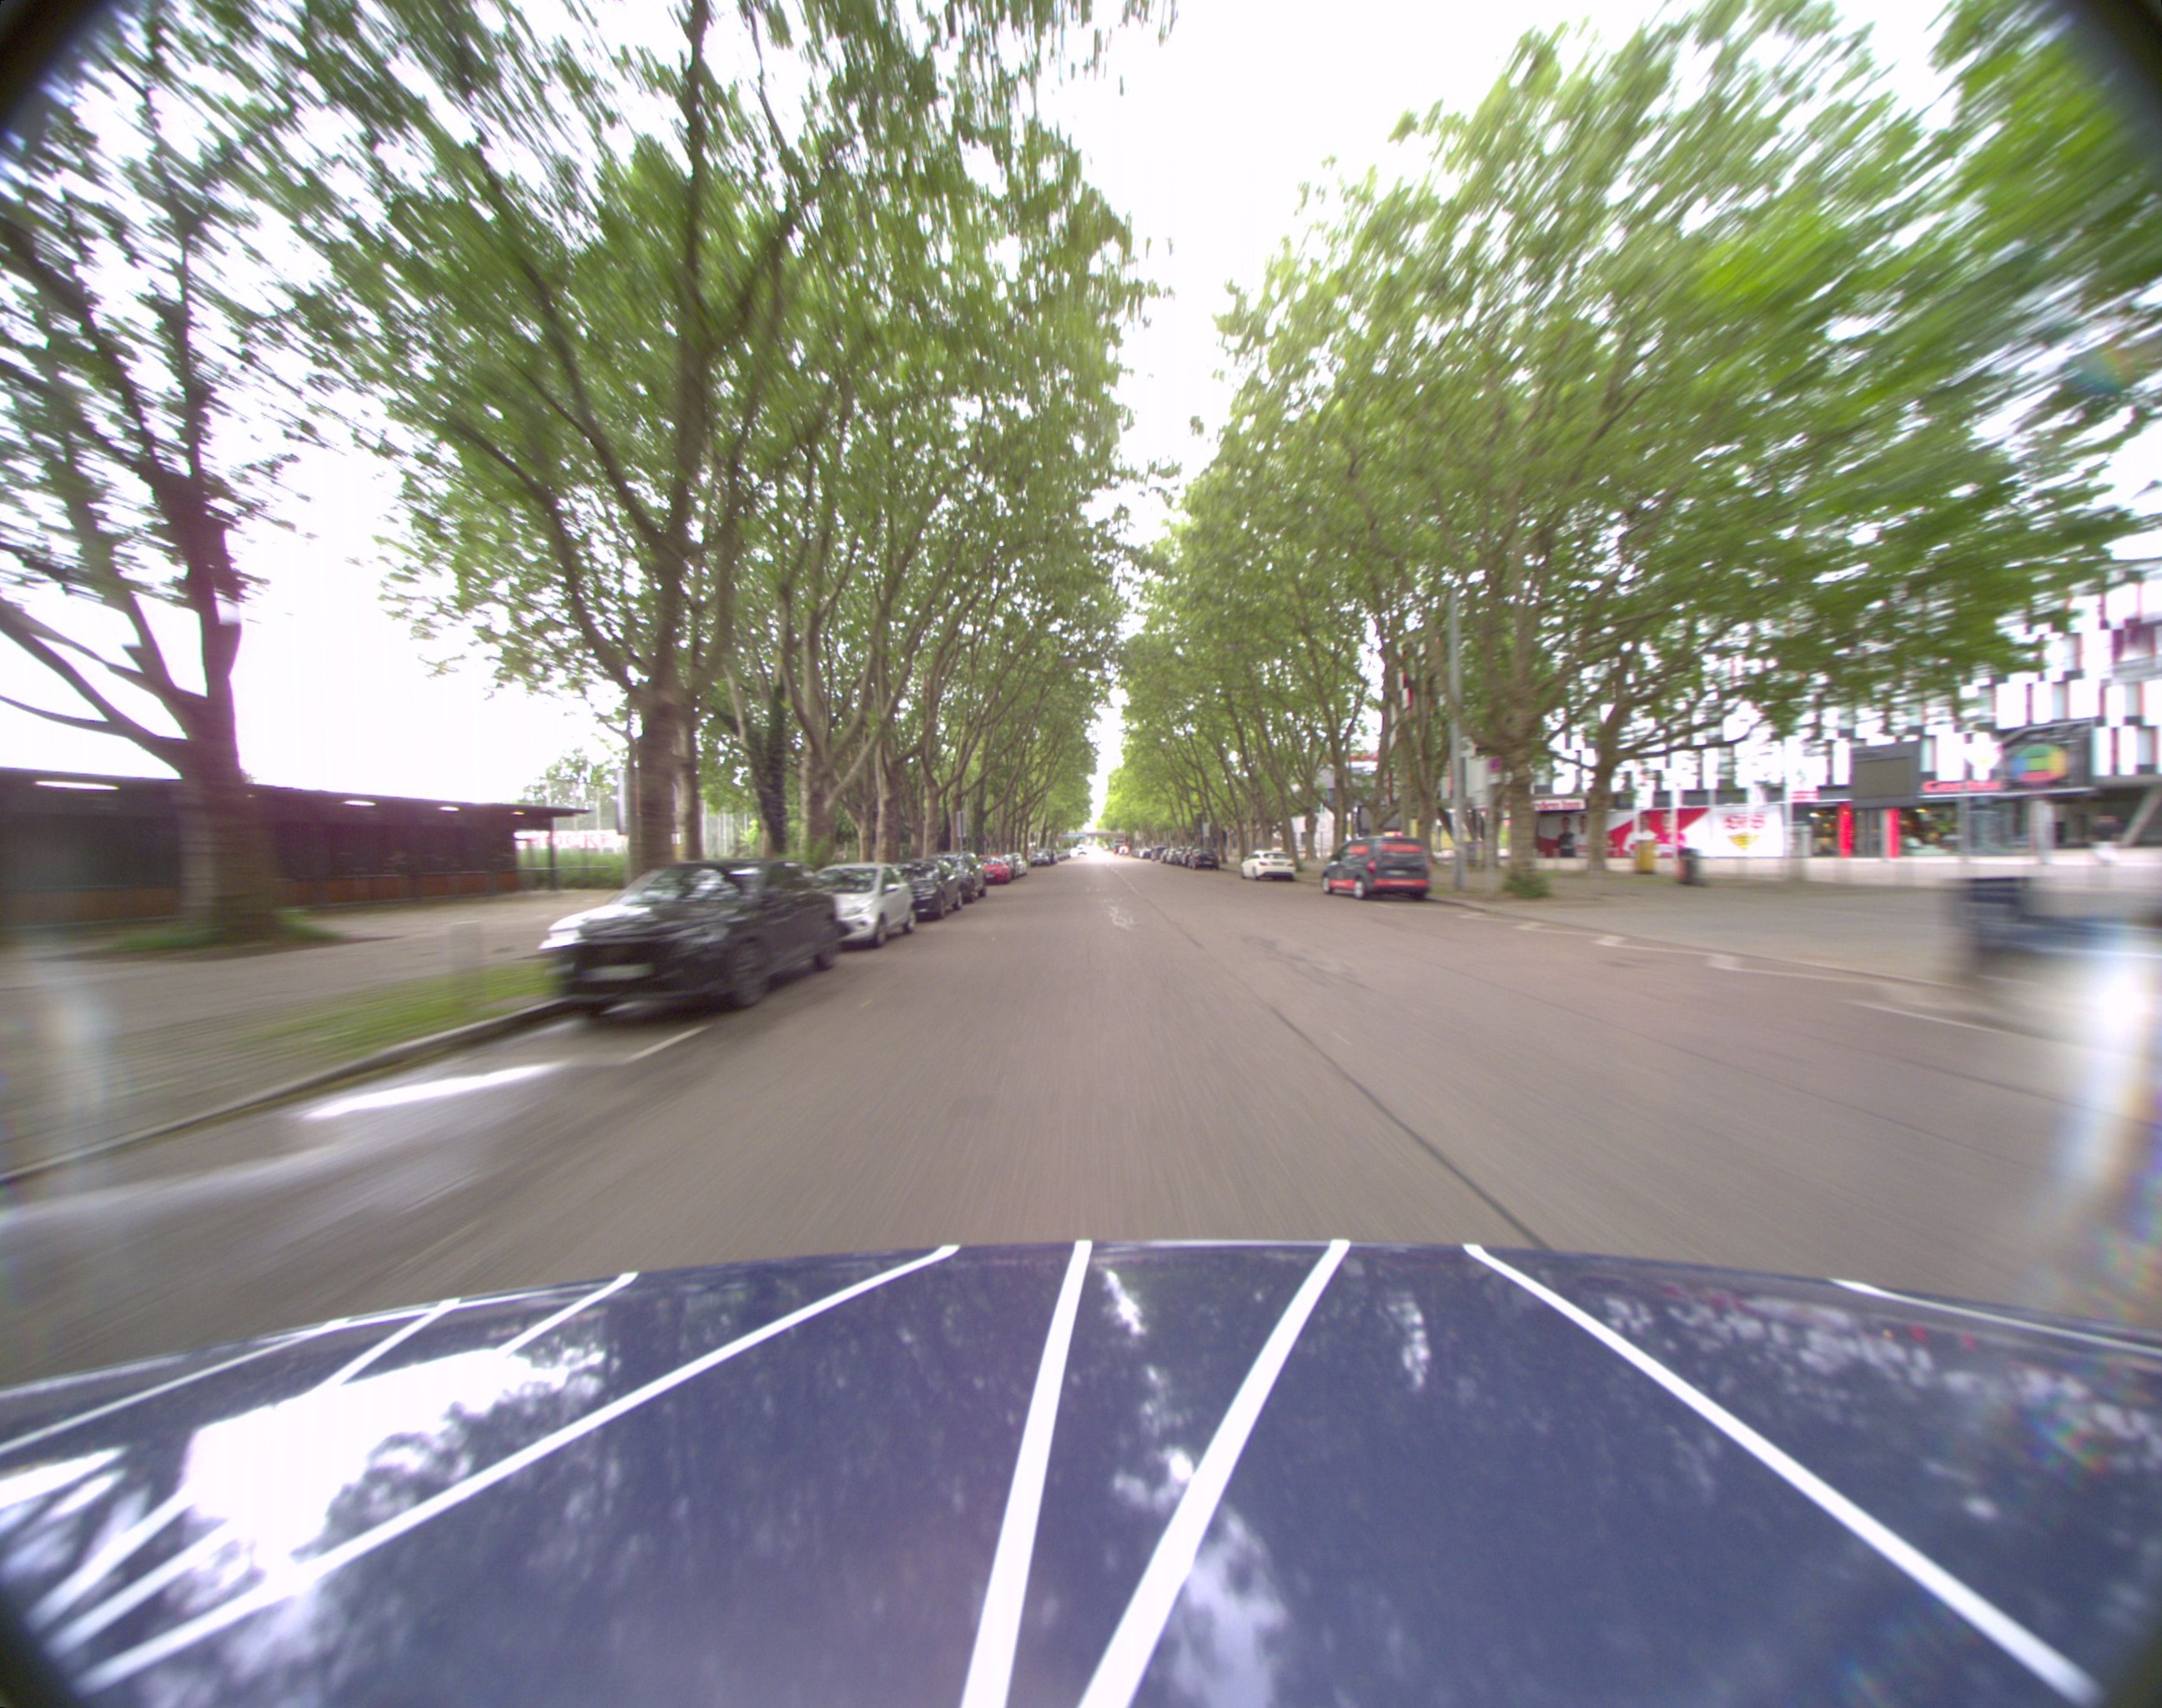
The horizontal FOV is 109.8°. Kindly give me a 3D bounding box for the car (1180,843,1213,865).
[{"bbox_3d":[8.984,-0.037,59.518,1.942,1.633,4.928,2,1,2],"label":"car"}]

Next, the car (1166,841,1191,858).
[{"bbox_3d":[9.022,-0.402,70.722,1.838,1.447,4.230,2,1,1],"label":"car"}]

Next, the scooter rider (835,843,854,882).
[{"bbox_3d":[-10.882,0.385,34.988,0.678,1.790,0.587,1,1,1],"label":"scooter rider"}]

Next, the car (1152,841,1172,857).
[{"bbox_3d":[9.479,-0.556,89.182,1.900,1.785,4.611,1,1,0],"label":"car"}]

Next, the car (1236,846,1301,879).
[{"bbox_3d":[8.821,0.352,36.132,1.908,1.395,4.750,2,1,1],"label":"car"}]

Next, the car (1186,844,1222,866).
[{"bbox_3d":[8.710,0.032,54.142,1.838,1.486,4.442,2,1,1],"label":"car"}]

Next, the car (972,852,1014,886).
[{"bbox_3d":[-4.265,0.673,37.372,1.721,1.430,4.627,-3,1,-3],"label":"car"}]

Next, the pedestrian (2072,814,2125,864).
[{"bbox_3d":[35.242,-0.517,26.322,0.726,1.682,0.808,-1,1,4],"label":"pedestrian"}]

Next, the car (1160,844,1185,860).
[{"bbox_3d":[9.096,-0.209,76.068,2.088,1.521,5.145,0,0,2],"label":"car"}]

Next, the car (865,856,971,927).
[{"bbox_3d":[-4.126,0.893,19.933,1.672,1.500,4.353,-3,1,1],"label":"car"}]

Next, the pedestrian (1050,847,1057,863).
[{"bbox_3d":[-2.704,0.109,75.527,0.635,1.617,0.742,-1,1,1],"label":"pedestrian"}]

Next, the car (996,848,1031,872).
[{"bbox_3d":[-4.196,0.340,47.445,1.739,1.430,4.122,-1,1,1],"label":"car"}]

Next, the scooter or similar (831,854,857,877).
[{"bbox_3d":[-10.881,0.511,34.940,0.682,1.032,1.467,1,1,1],"label":"scooter or similar"}]

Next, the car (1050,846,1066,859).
[{"bbox_3d":[-3.093,-0.236,102.732,1.834,1.593,4.466,-4,0,0],"label":"car"}]

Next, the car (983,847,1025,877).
[{"bbox_3d":[-4.274,0.431,42.555,1.734,1.461,4.080,-4,1,2],"label":"car"}]

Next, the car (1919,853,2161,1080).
[{"bbox_3d":[8.149,0.782,4.340,1.729,1.477,4.574,-1,1,1],"label":"car"}]

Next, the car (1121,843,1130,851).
[{"bbox_3d":[10.568,-1.655,181.356,2.064,1.950,5.466,-1,0,2],"label":"car"}]

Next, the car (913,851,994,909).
[{"bbox_3d":[-4.105,0.783,25.202,1.760,1.610,4.438,-3,1,1],"label":"car"}]

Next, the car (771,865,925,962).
[{"bbox_3d":[-4.259,1.016,14.493,1.620,1.433,3.710,-3,1,2],"label":"car"}]

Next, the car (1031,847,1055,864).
[{"bbox_3d":[-3.709,0.140,75.034,1.998,1.470,4.371,-3,1,1],"label":"car"}]

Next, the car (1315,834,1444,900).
[{"bbox_3d":[8.520,0.304,22.226,1.954,1.740,4.637,0,1,0],"label":"car"}]

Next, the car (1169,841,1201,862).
[{"bbox_3d":[8.915,-0.204,65.438,1.874,1.708,4.646,2,1,-2],"label":"car"}]

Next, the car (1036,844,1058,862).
[{"bbox_3d":[-3.677,-0.121,81.920,1.848,1.772,4.444,-4,0,-8],"label":"car"}]

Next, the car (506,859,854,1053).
[{"bbox_3d":[-4.416,0.963,9.379,1.782,1.663,4.636,-2,1,0],"label":"car"}]

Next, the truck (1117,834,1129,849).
[{"bbox_3d":[11.153,-3.402,203.529,2.917,3.846,9.465,0,1,1],"label":"truck"}]

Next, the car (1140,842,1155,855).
[{"bbox_3d":[9.035,-0.778,104.063,1.822,1.585,4.345,2,1,3],"label":"car"}]
